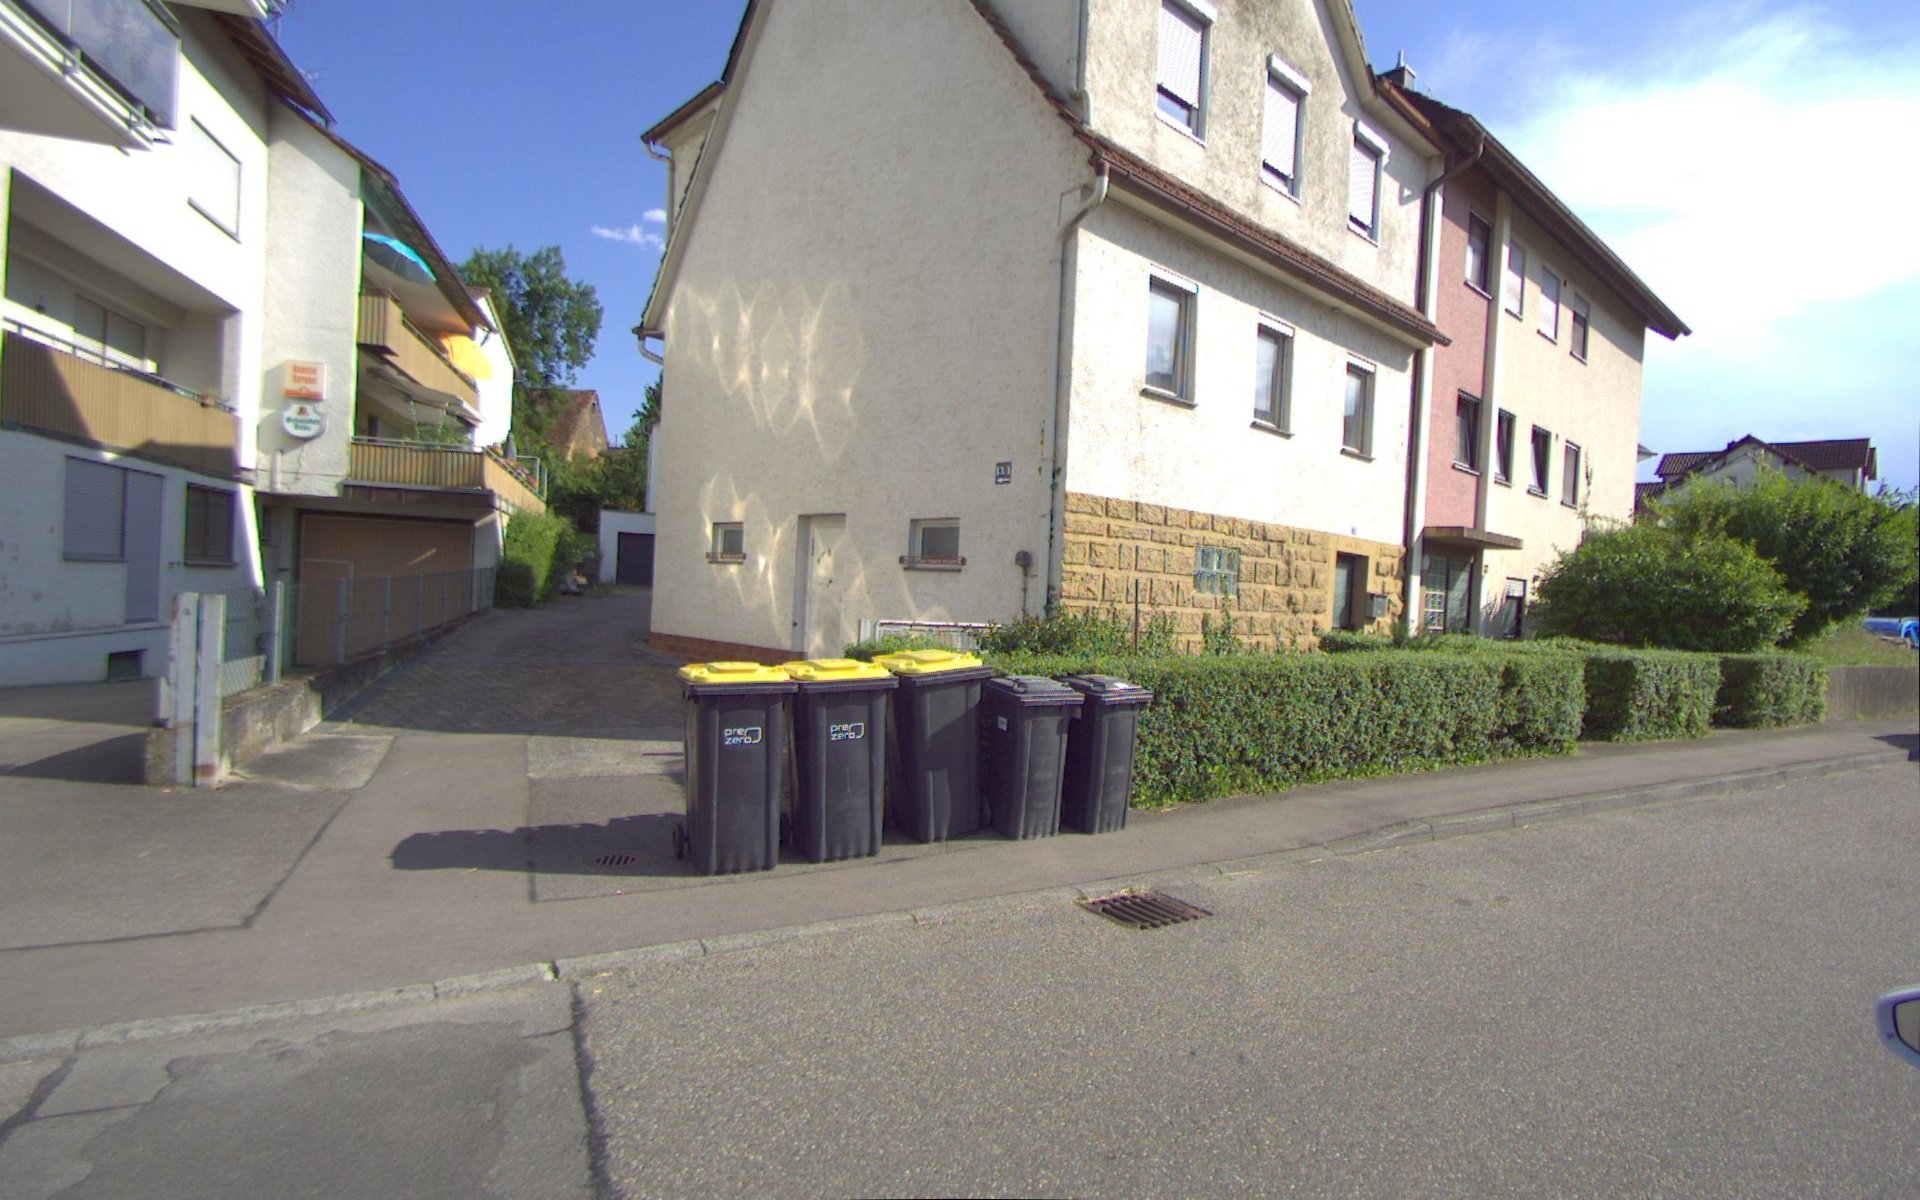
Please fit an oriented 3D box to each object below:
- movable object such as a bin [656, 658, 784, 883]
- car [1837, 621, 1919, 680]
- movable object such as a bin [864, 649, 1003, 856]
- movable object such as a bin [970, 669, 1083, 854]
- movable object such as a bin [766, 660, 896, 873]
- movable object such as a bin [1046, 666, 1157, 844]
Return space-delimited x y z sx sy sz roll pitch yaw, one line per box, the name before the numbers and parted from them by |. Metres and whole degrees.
movable object such as a bin | -1.299 0.875 5.398 0.502 1.098 0.585 2 -1 -29
car | 23.674 1.288 25.580 3.165 1.390 1.350 3 -2 -36
movable object such as a bin | -0.165 0.881 6.046 0.610 1.137 0.585 2 -1 -29
movable object such as a bin | 0.397 0.954 6.132 0.452 1.036 0.529 2 -1 -29
movable object such as a bin | -0.740 0.904 5.692 0.523 1.098 0.585 2 -1 -29
movable object such as a bin | 0.888 0.951 6.352 0.452 1.036 0.529 2 -1 -29
